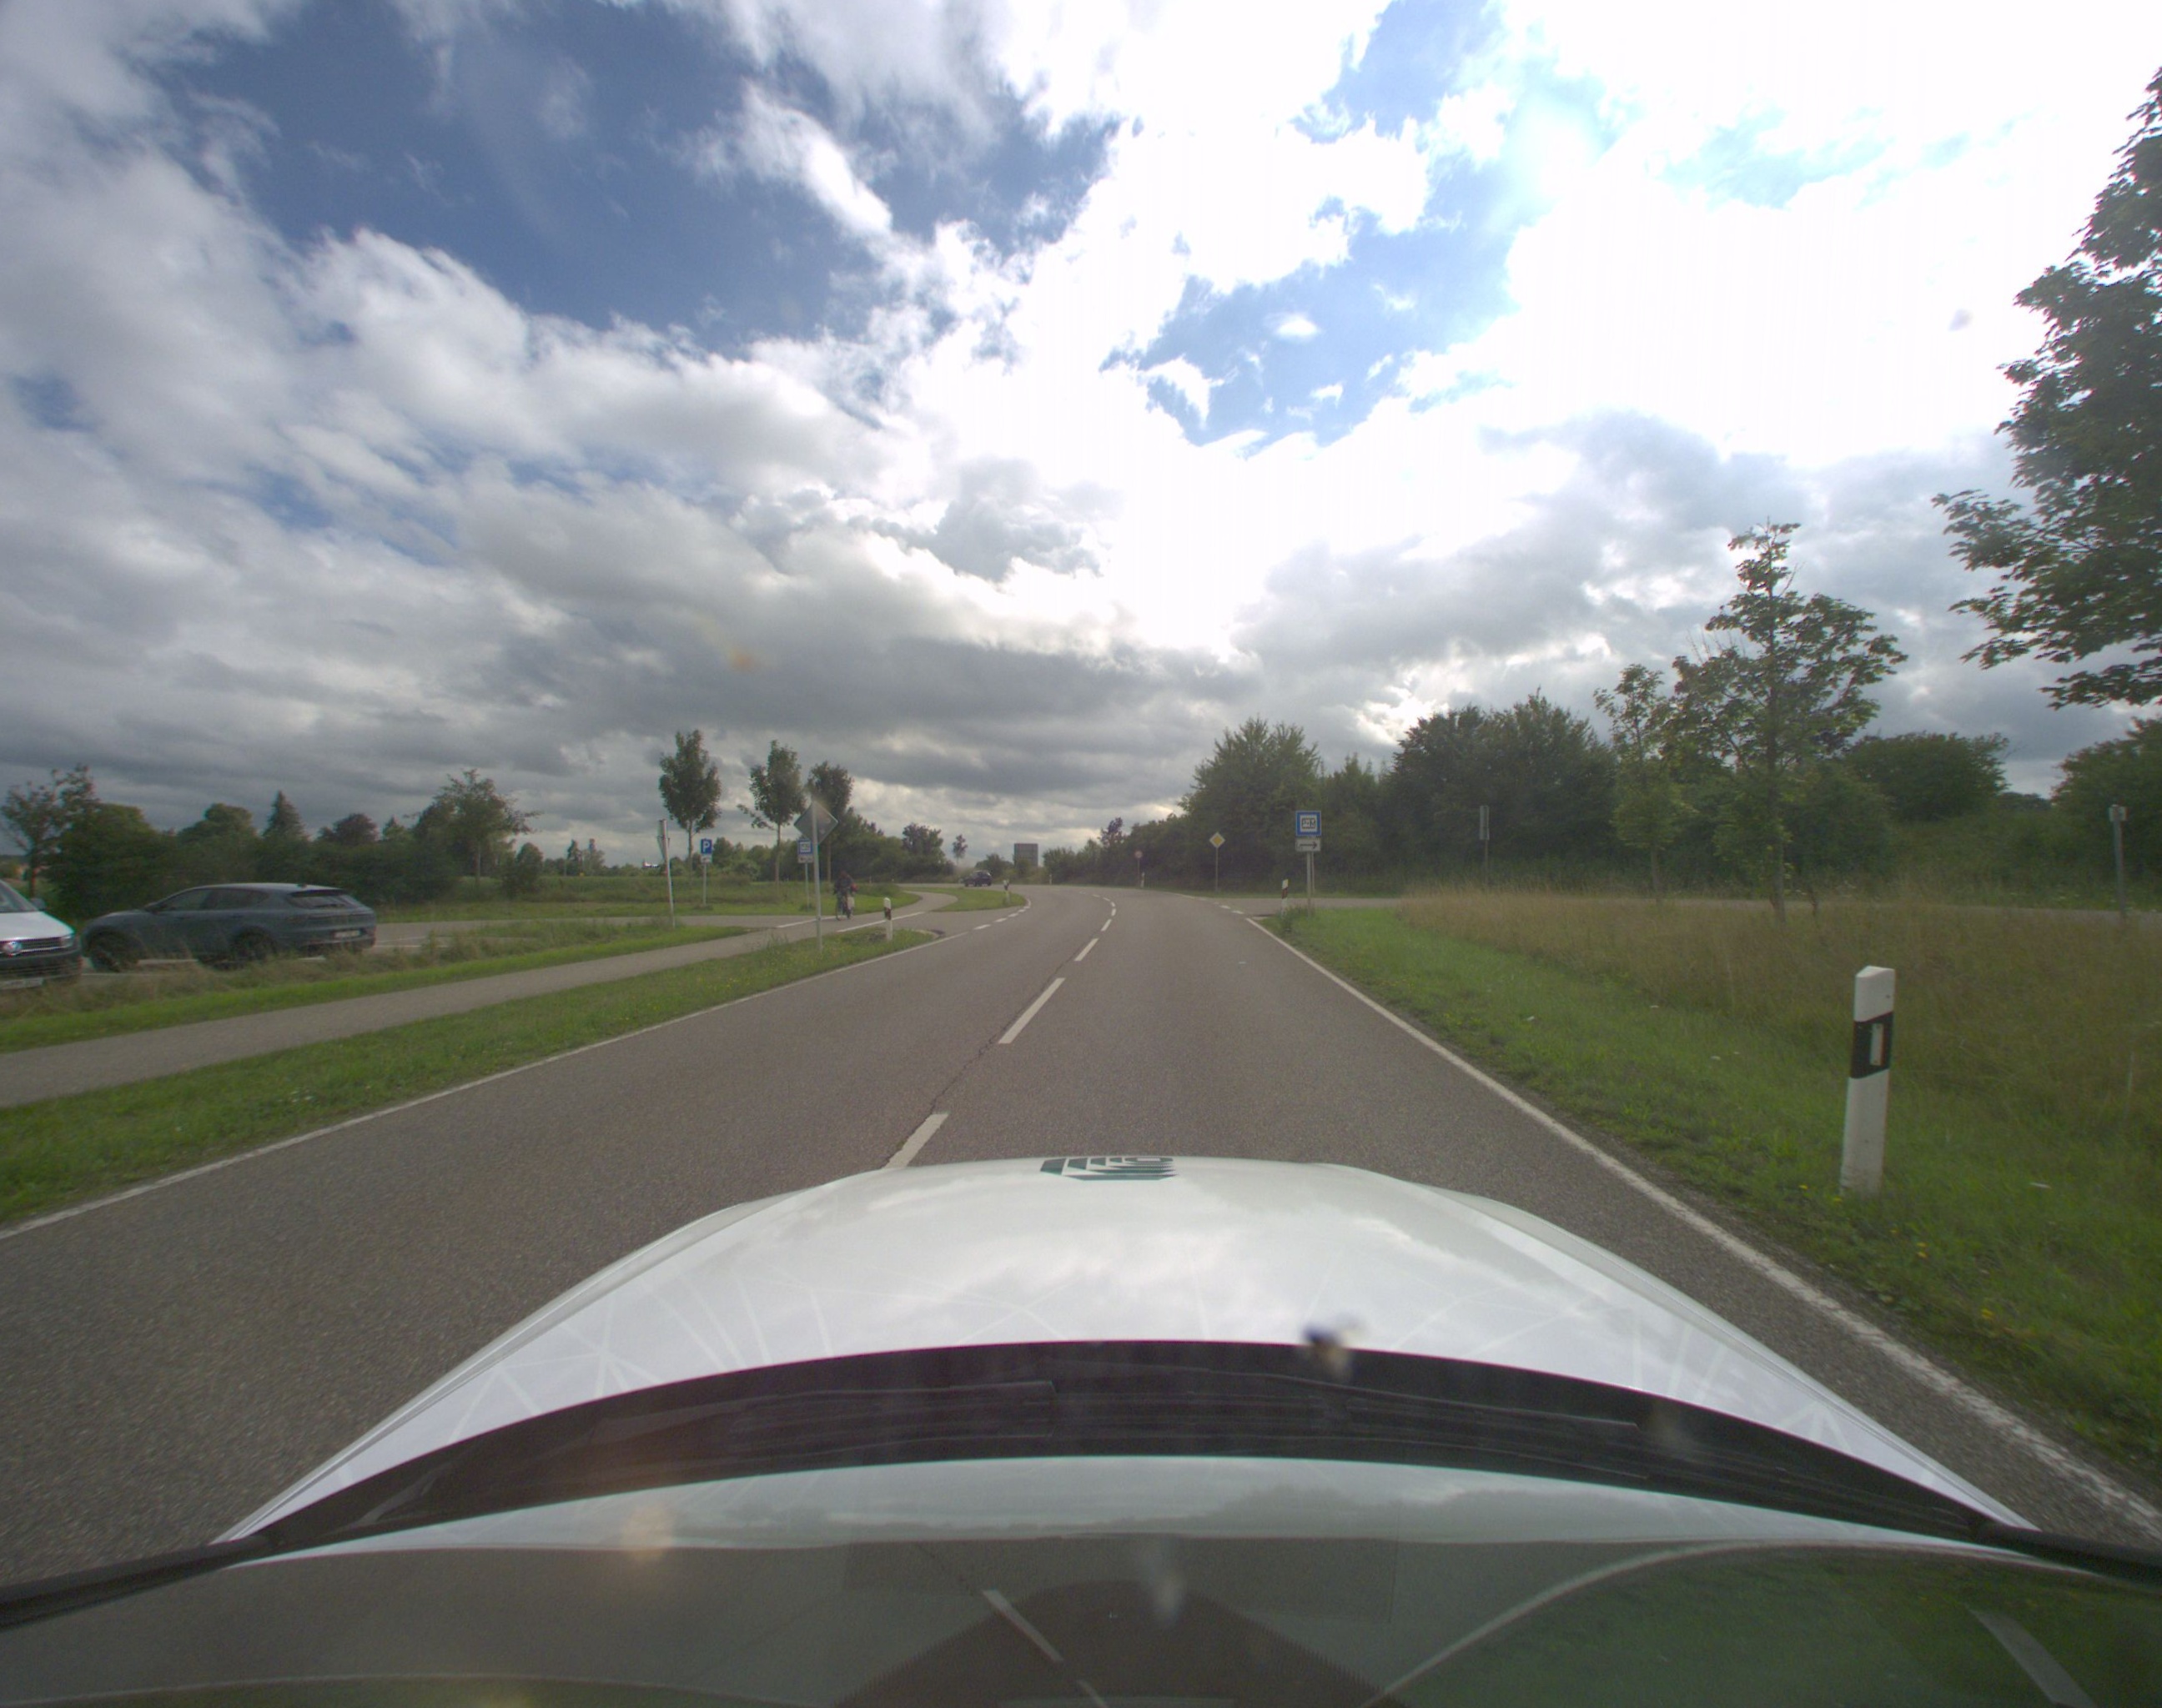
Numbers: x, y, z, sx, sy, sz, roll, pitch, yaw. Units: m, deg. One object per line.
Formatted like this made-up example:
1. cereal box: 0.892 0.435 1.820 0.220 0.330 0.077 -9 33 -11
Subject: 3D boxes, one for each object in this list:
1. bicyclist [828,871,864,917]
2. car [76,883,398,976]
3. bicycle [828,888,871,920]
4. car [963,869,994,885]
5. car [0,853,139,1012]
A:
1. bicyclist: -8.099 1.371 28.143 0.826 1.566 1.058 -1 -1 8
2. car: -16.056 1.397 15.661 4.229 1.595 2.002 -1 -1 4
3. bicycle: -8.014 1.715 28.277 0.632 1.032 2.194 -1 -1 6
4. car: -11.128 2.512 88.427 1.919 1.666 3.960 0 -1 -31
5. car: -16.073 1.035 10.800 4.874 2.014 2.058 -1 -1 2
